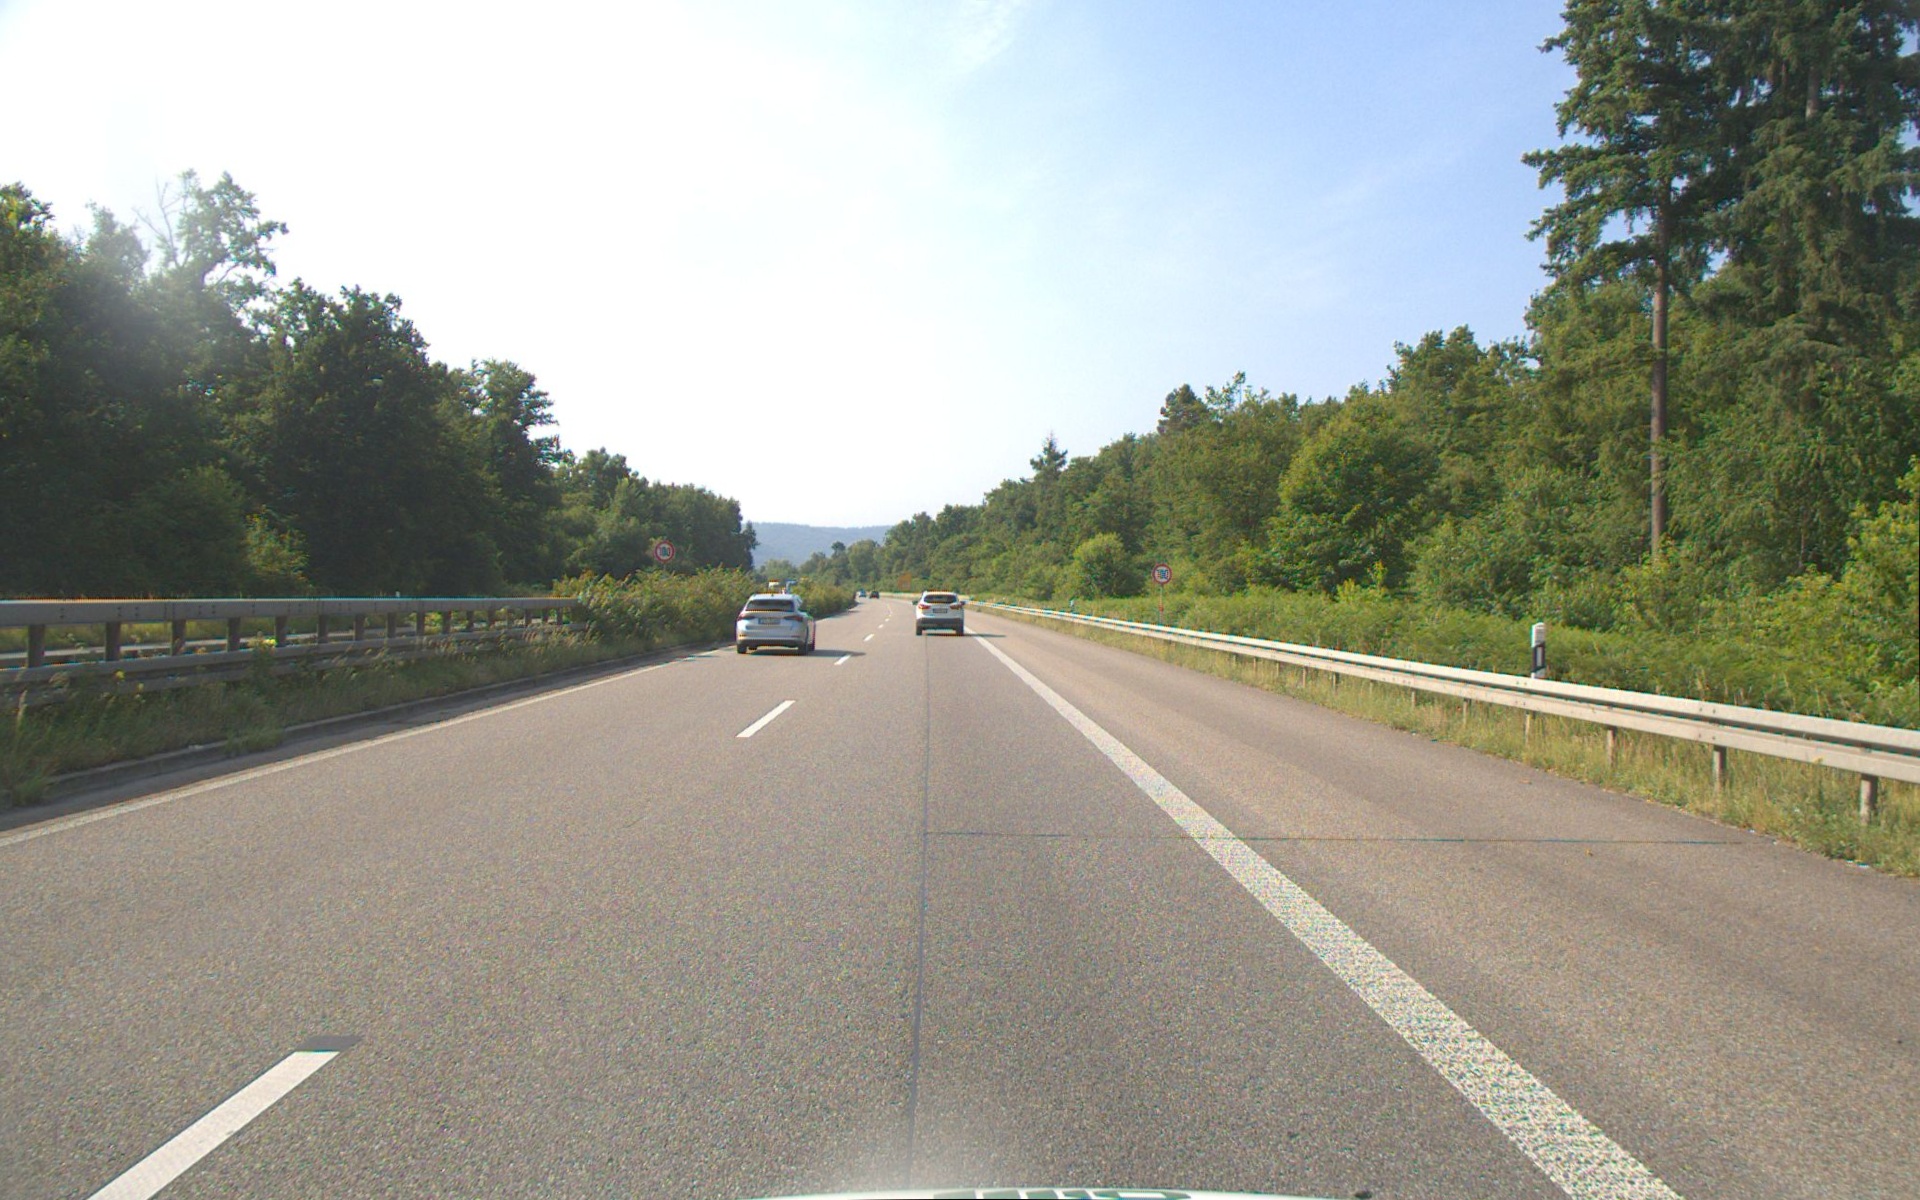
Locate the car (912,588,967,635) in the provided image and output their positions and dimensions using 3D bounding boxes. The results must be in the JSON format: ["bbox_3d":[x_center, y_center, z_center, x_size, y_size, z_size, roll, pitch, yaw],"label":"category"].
[{"bbox_3d":[-0.805,0.402,61.962,1.836,1.614,3.998,2,0,-3],"label":"car"}]

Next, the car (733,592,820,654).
[{"bbox_3d":[-4.617,0.529,42.230,1.756,1.463,5.277,0,0,-1],"label":"car"}]
